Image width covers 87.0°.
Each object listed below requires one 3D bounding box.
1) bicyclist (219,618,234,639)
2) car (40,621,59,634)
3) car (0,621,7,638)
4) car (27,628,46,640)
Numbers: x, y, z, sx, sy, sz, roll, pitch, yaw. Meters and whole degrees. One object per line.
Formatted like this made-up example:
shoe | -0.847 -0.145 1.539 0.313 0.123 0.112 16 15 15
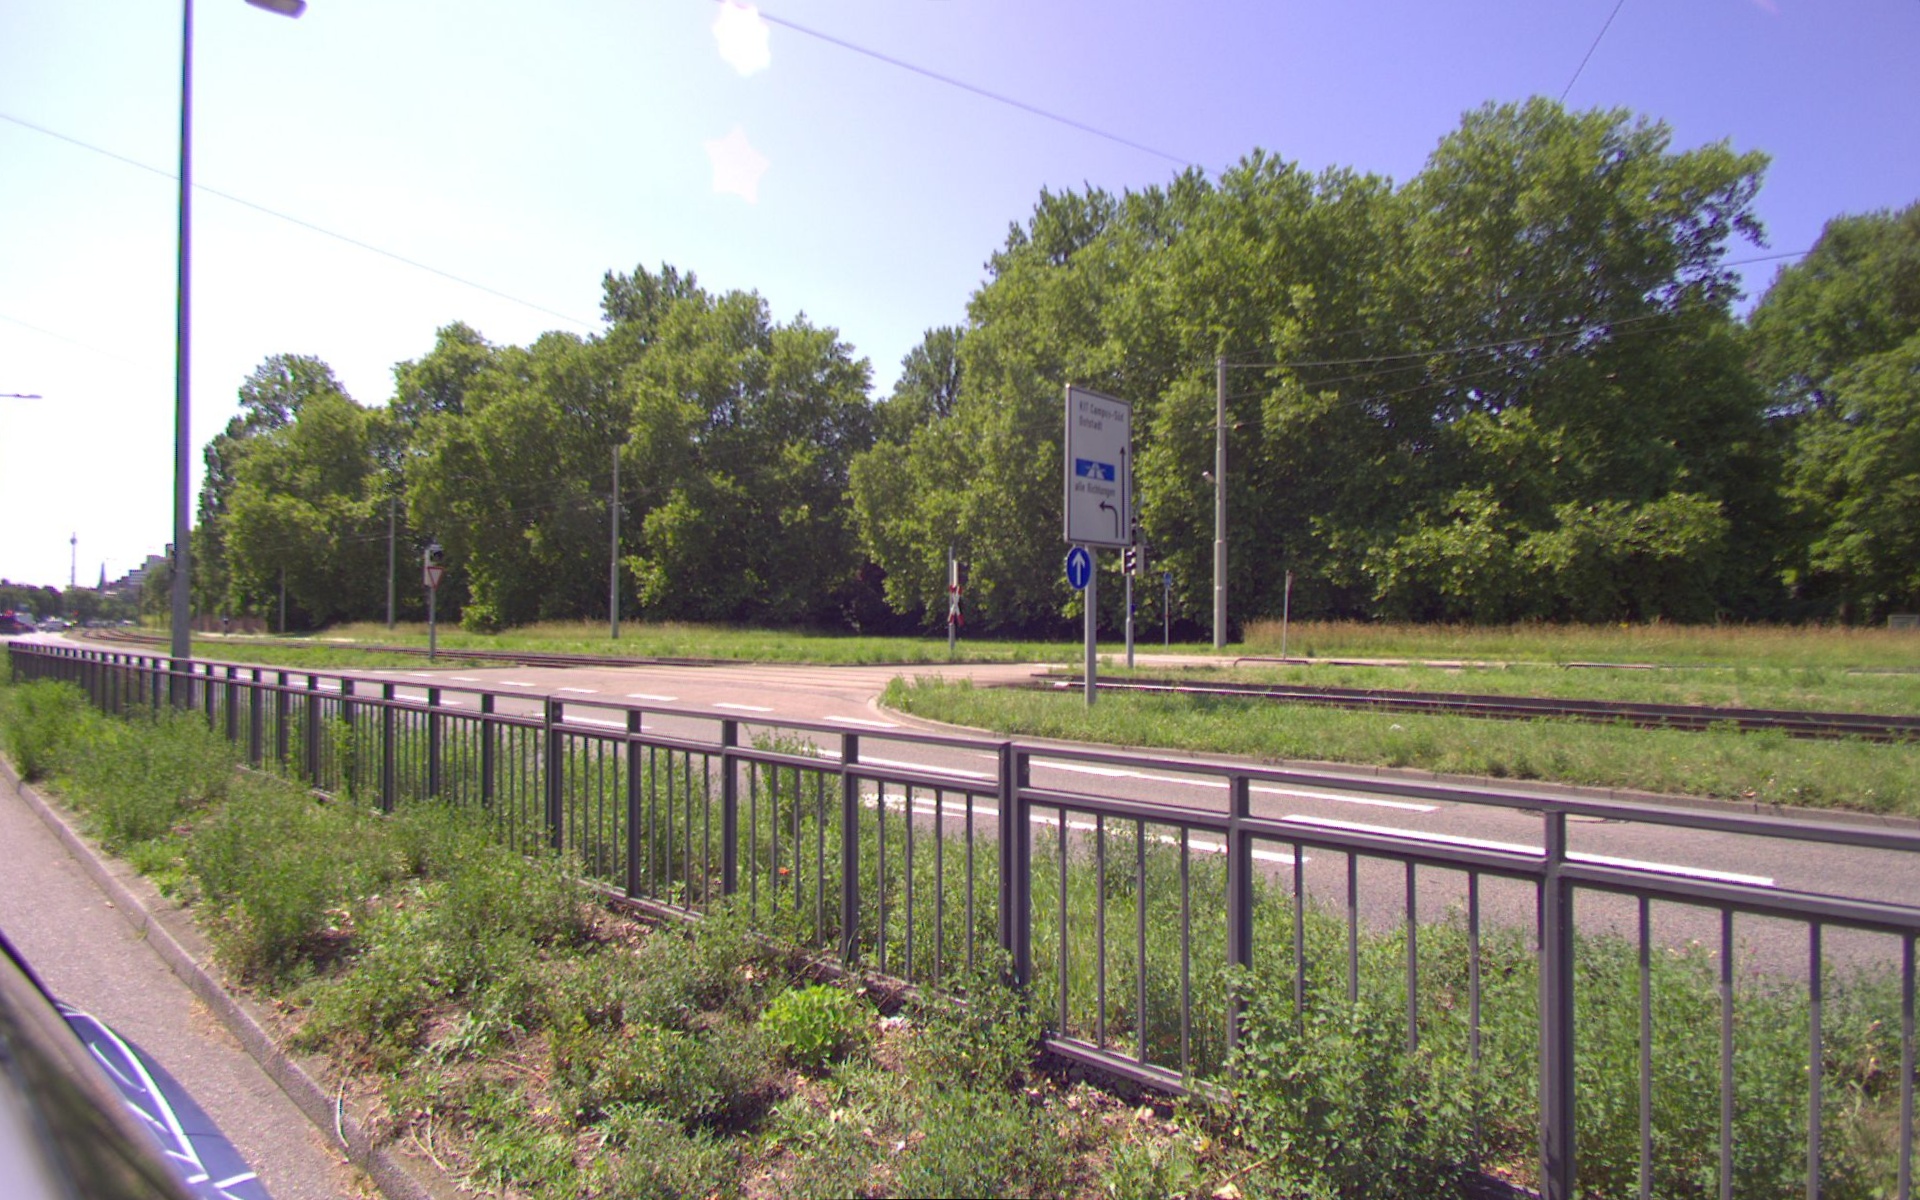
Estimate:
bicyclist | -64.764 2.496 89.340 1.117 1.820 0.851 -1 -2 41
car | -136.657 4.166 151.856 1.970 1.871 4.003 1 -2 -44
car | -107.990 3.259 113.169 1.970 1.871 4.004 1 -2 -43
car | -141.853 5.244 155.414 1.970 1.871 4.003 1 -2 -44
